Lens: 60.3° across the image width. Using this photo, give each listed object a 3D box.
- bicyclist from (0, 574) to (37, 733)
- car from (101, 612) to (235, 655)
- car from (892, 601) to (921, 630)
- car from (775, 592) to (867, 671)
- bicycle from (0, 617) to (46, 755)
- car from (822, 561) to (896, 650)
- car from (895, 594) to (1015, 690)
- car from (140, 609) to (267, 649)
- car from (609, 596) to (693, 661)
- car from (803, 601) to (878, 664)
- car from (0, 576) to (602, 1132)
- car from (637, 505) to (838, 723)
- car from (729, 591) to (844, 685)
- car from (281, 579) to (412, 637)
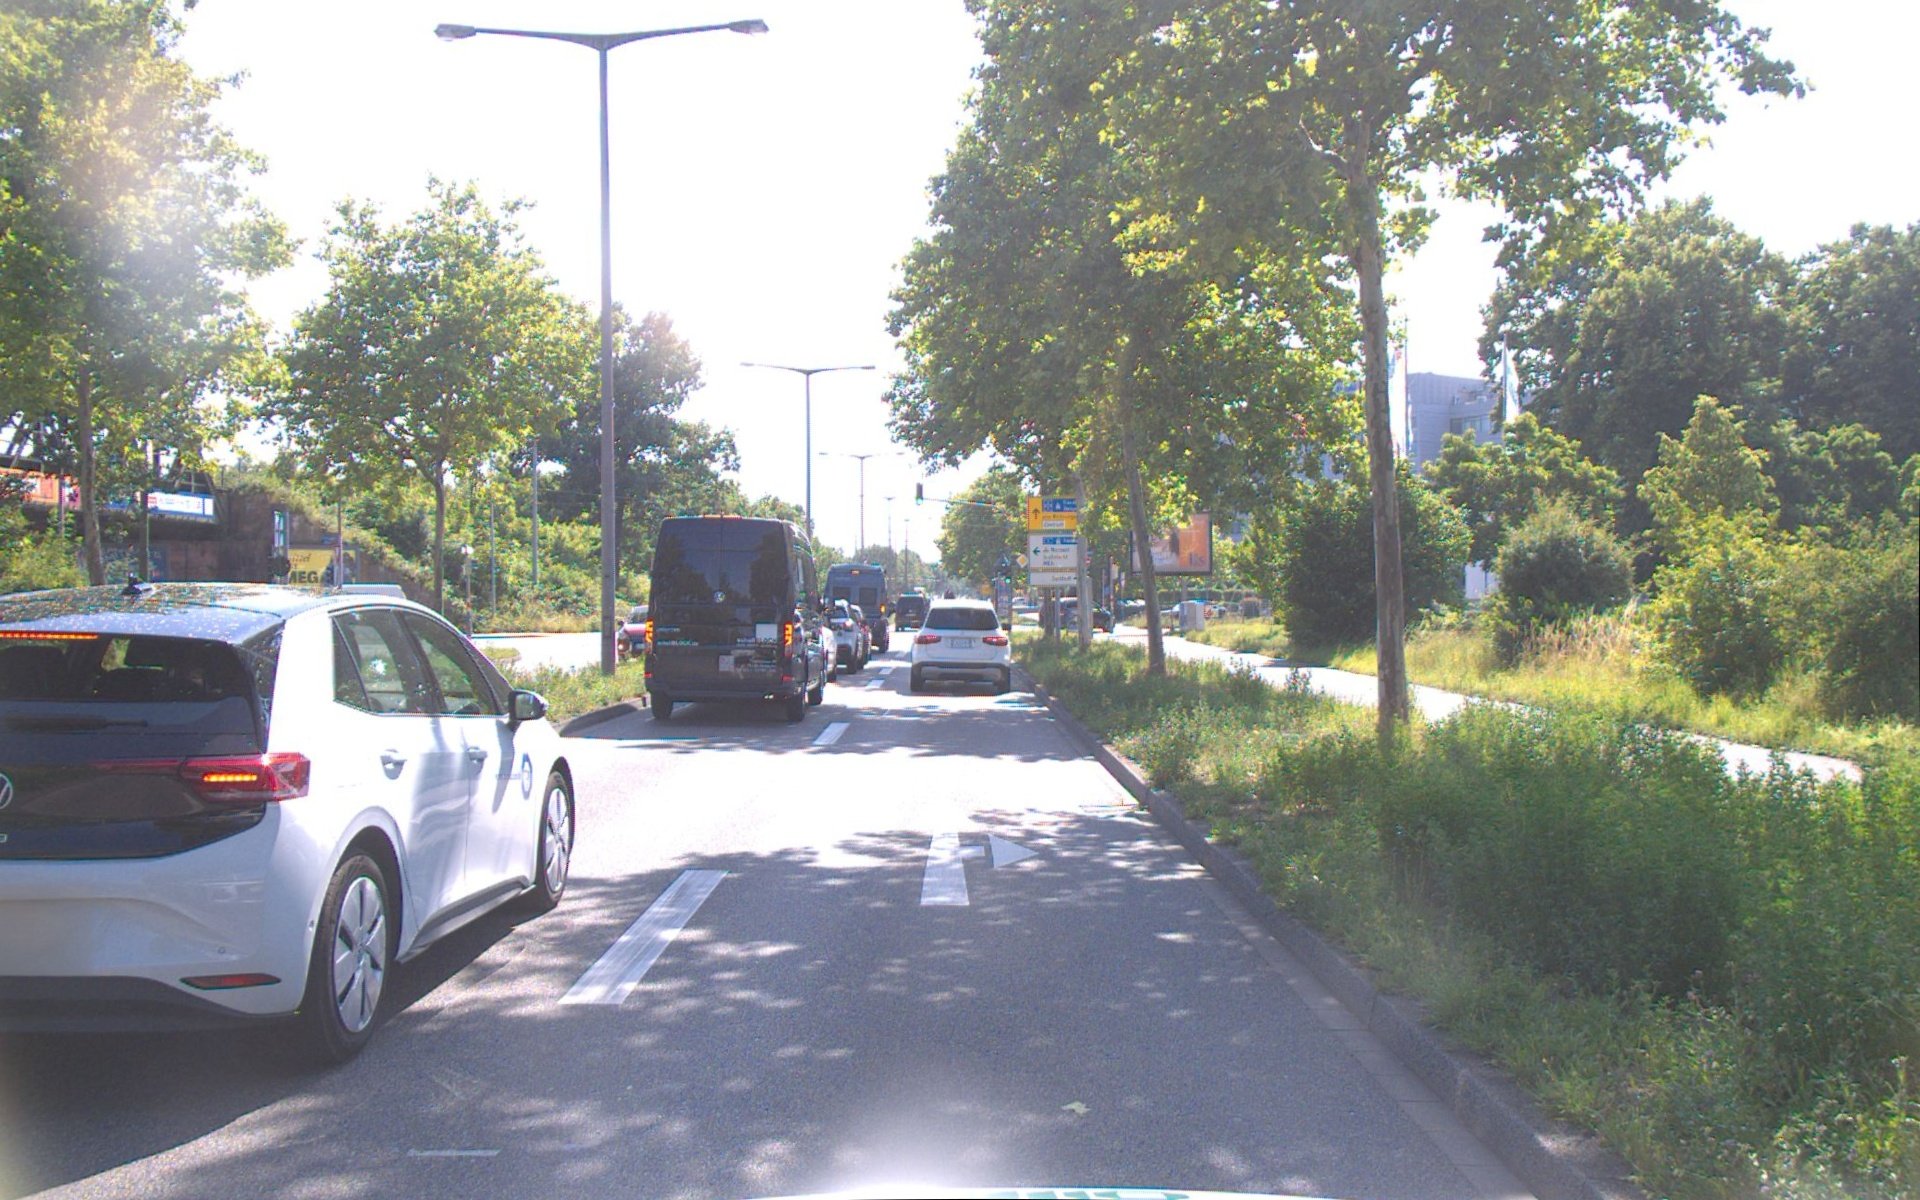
[{"bbox_3d":[-7.661,0.402,12.504,0.713,1.211,1.102,1,-1,0],"label":"bicyclist"},{"bbox_3d":[-27.032,1.108,56.482,3.950,1.368,1.861,-1,0,-33],"label":"car"},{"bbox_3d":[-2.724,0.768,84.854,1.434,1.428,3.476,1,0,-1],"label":"car"},{"bbox_3d":[-3.103,0.698,37.582,1.735,1.676,4.084,0,0,0],"label":"car"},{"bbox_3d":[-7.672,0.651,12.107,0.713,1.047,2.216,1,0,0],"label":"bicycle"},{"bbox_3d":[-3.210,0.187,53.584,2.039,2.703,4.874,1,0,0],"label":"car"},{"bbox_3d":[-0.161,0.734,30.795,1.818,1.635,3.995,1,0,-6],"label":"car"},{"bbox_3d":[-29.360,1.102,64.243,4.281,1.451,1.468,-1,0,-35],"label":"car"},{"bbox_3d":[-8.000,0.705,43.110,1.818,1.611,4.169,0,0,-6],"label":"car"},{"bbox_3d":[-3.082,0.819,43.244,1.657,1.531,3.885,1,0,0],"label":"car"},{"bbox_3d":[-2.801,0.711,6.720,1.782,1.548,4.208,0,0,0],"label":"car"},{"bbox_3d":[-2.949,0.191,23.352,1.974,2.653,6.168,1,0,0],"label":"car"},{"bbox_3d":[-3.260,0.699,31.798,1.735,1.676,4.352,0,0,0],"label":"car"},{"bbox_3d":[-26.822,0.349,72.368,5.081,2.461,1.975,0,0,-36],"label":"car"}]
